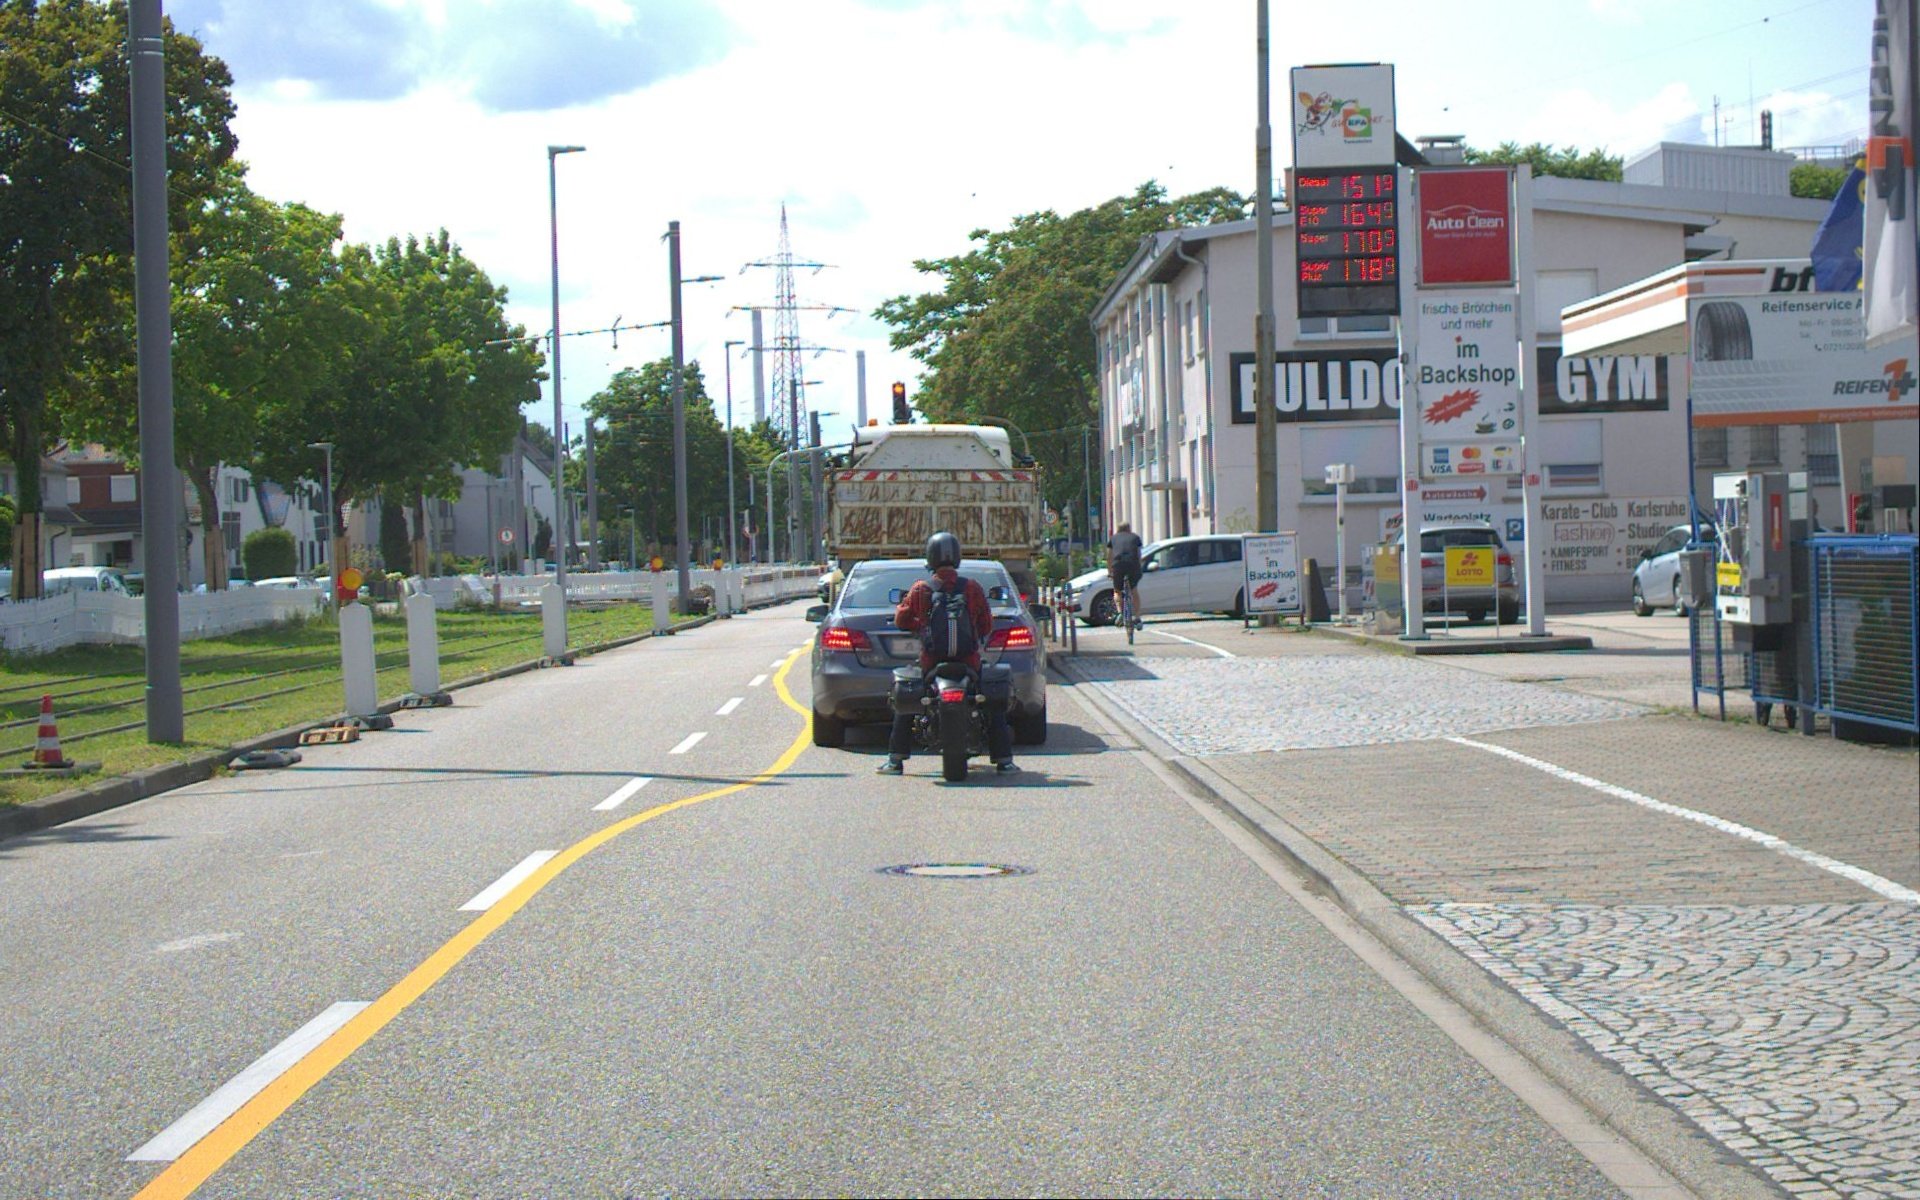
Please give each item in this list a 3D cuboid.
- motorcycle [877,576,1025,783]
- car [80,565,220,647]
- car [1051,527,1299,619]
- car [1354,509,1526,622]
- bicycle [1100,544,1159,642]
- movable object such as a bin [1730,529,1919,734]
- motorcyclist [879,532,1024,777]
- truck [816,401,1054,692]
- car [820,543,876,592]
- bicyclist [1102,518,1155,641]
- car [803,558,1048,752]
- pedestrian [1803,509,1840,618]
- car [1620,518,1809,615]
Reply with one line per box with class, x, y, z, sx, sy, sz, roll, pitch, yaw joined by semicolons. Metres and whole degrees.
motorcycle;-0.065;0.505;23.421;0.939;1.316;2.645;0;1;0
car;-17.248;0.115;73.378;1.993;1.601;4.000;-2;0;0
car;4.062;-0.509;65.300;4.329;1.546;1.950;-2;0;-8
car;7.586;-0.532;54.671;1.959;1.643;4.000;-2;0;-2
bicycle;2.447;-0.116;49.725;0.693;1.357;2.418;-2;1;0
movable object such as a bin;6.421;0.224;25.314;1.256;1.439;0.824;-2;0;0
motorcyclist;-0.060;0.354;23.238;0.939;1.609;1.205;0;0;0
truck;-0.269;-0.772;44.219;2.610;3.244;9.183;-2;2;0
car;-3.543;-1.029;108.356;1.654;1.442;4.303;-2;1;-2
bicyclist;2.426;-0.304;49.470;0.671;1.738;0.813;-2;1;-1
car;-0.270;0.388;27.895;1.821;1.419;4.000;-1;1;0
pedestrian;13.442;-0.573;53.635;0.396;1.683;0.485;-2;0;1
car;12.097;-0.529;55.382;1.959;1.415;4.000;-2;0;-2
